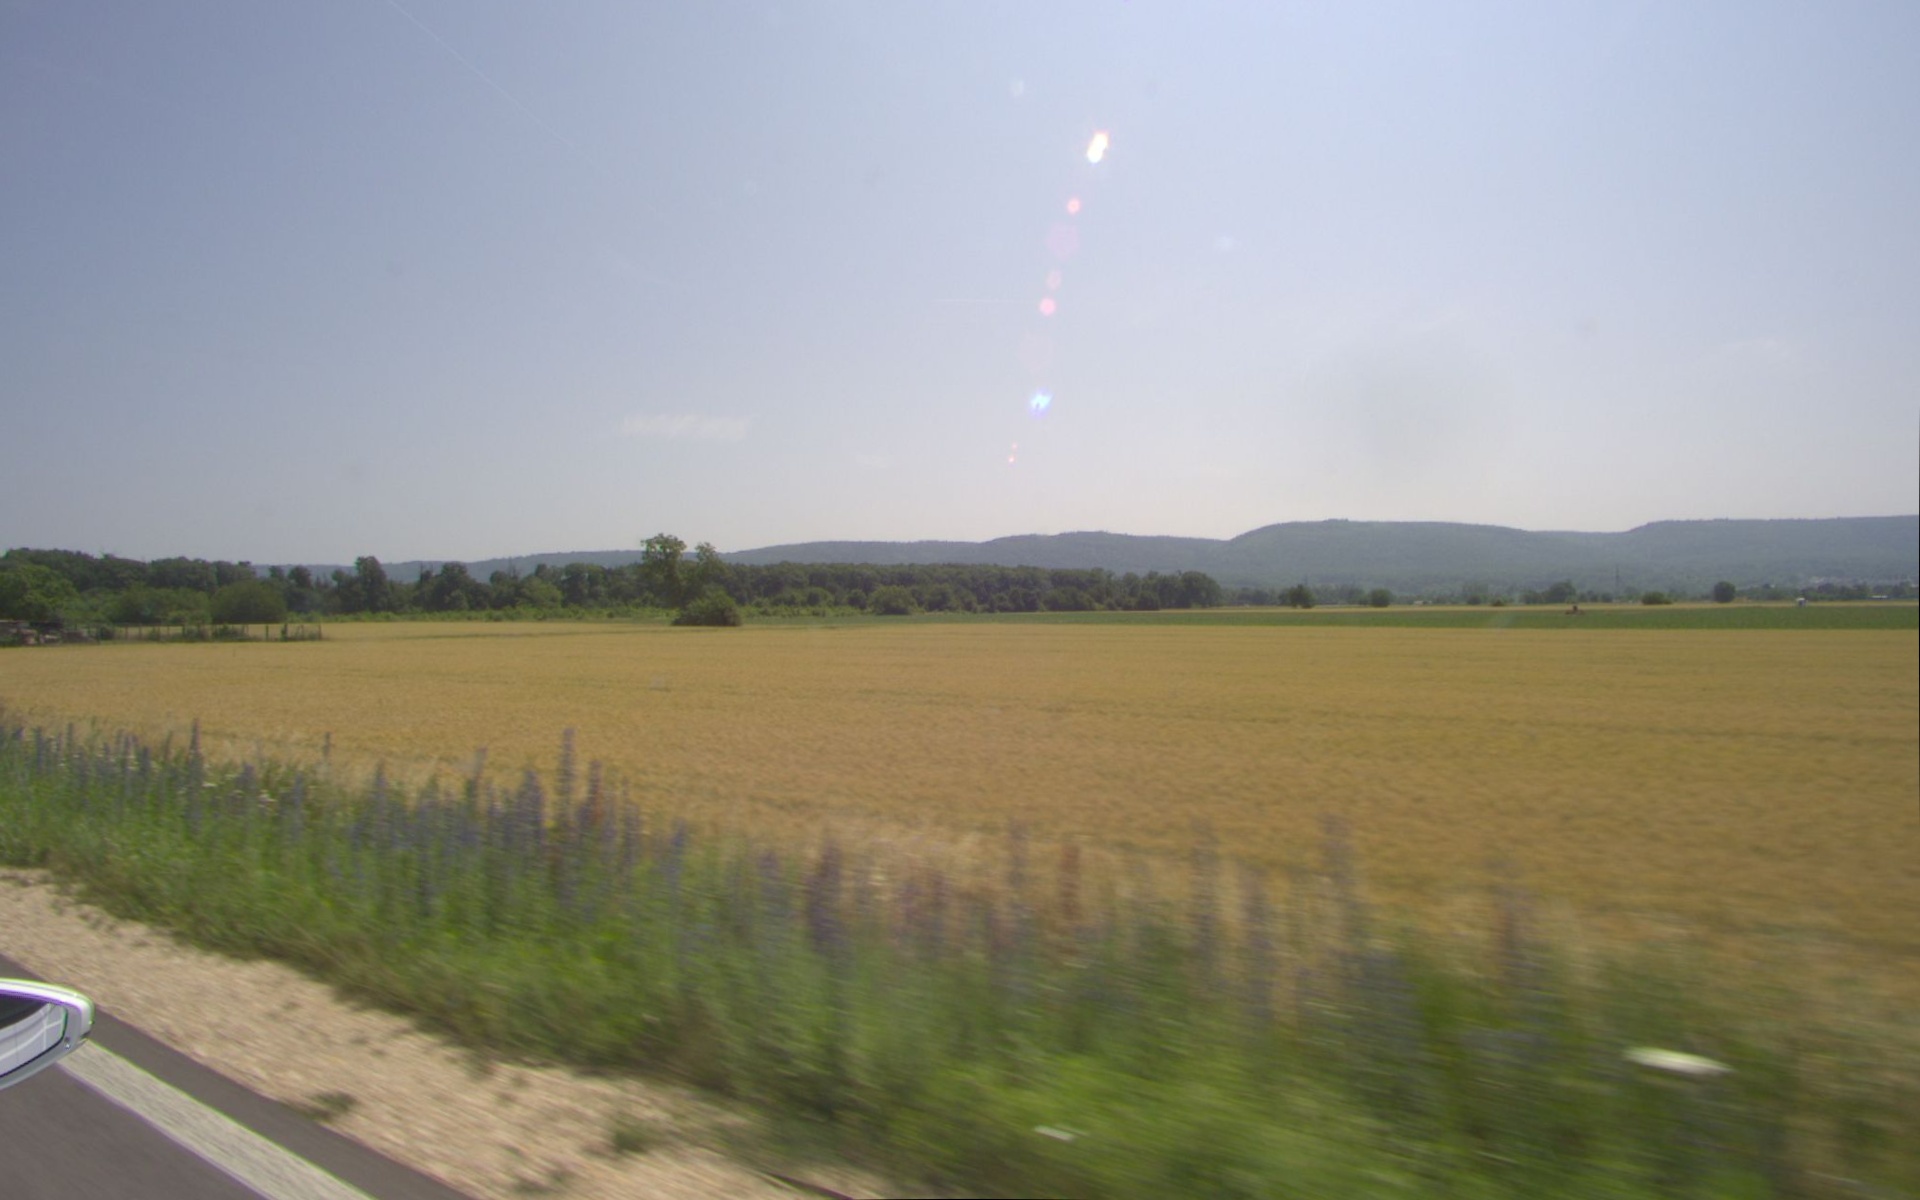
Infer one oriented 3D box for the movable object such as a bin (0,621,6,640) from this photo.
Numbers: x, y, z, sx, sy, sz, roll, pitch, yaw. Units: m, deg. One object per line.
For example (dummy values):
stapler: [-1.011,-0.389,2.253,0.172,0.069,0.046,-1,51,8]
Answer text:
movable object such as a bin: [-79.128,2.474,81.143,3.602,1.516,1.570,-1,-1,28]
